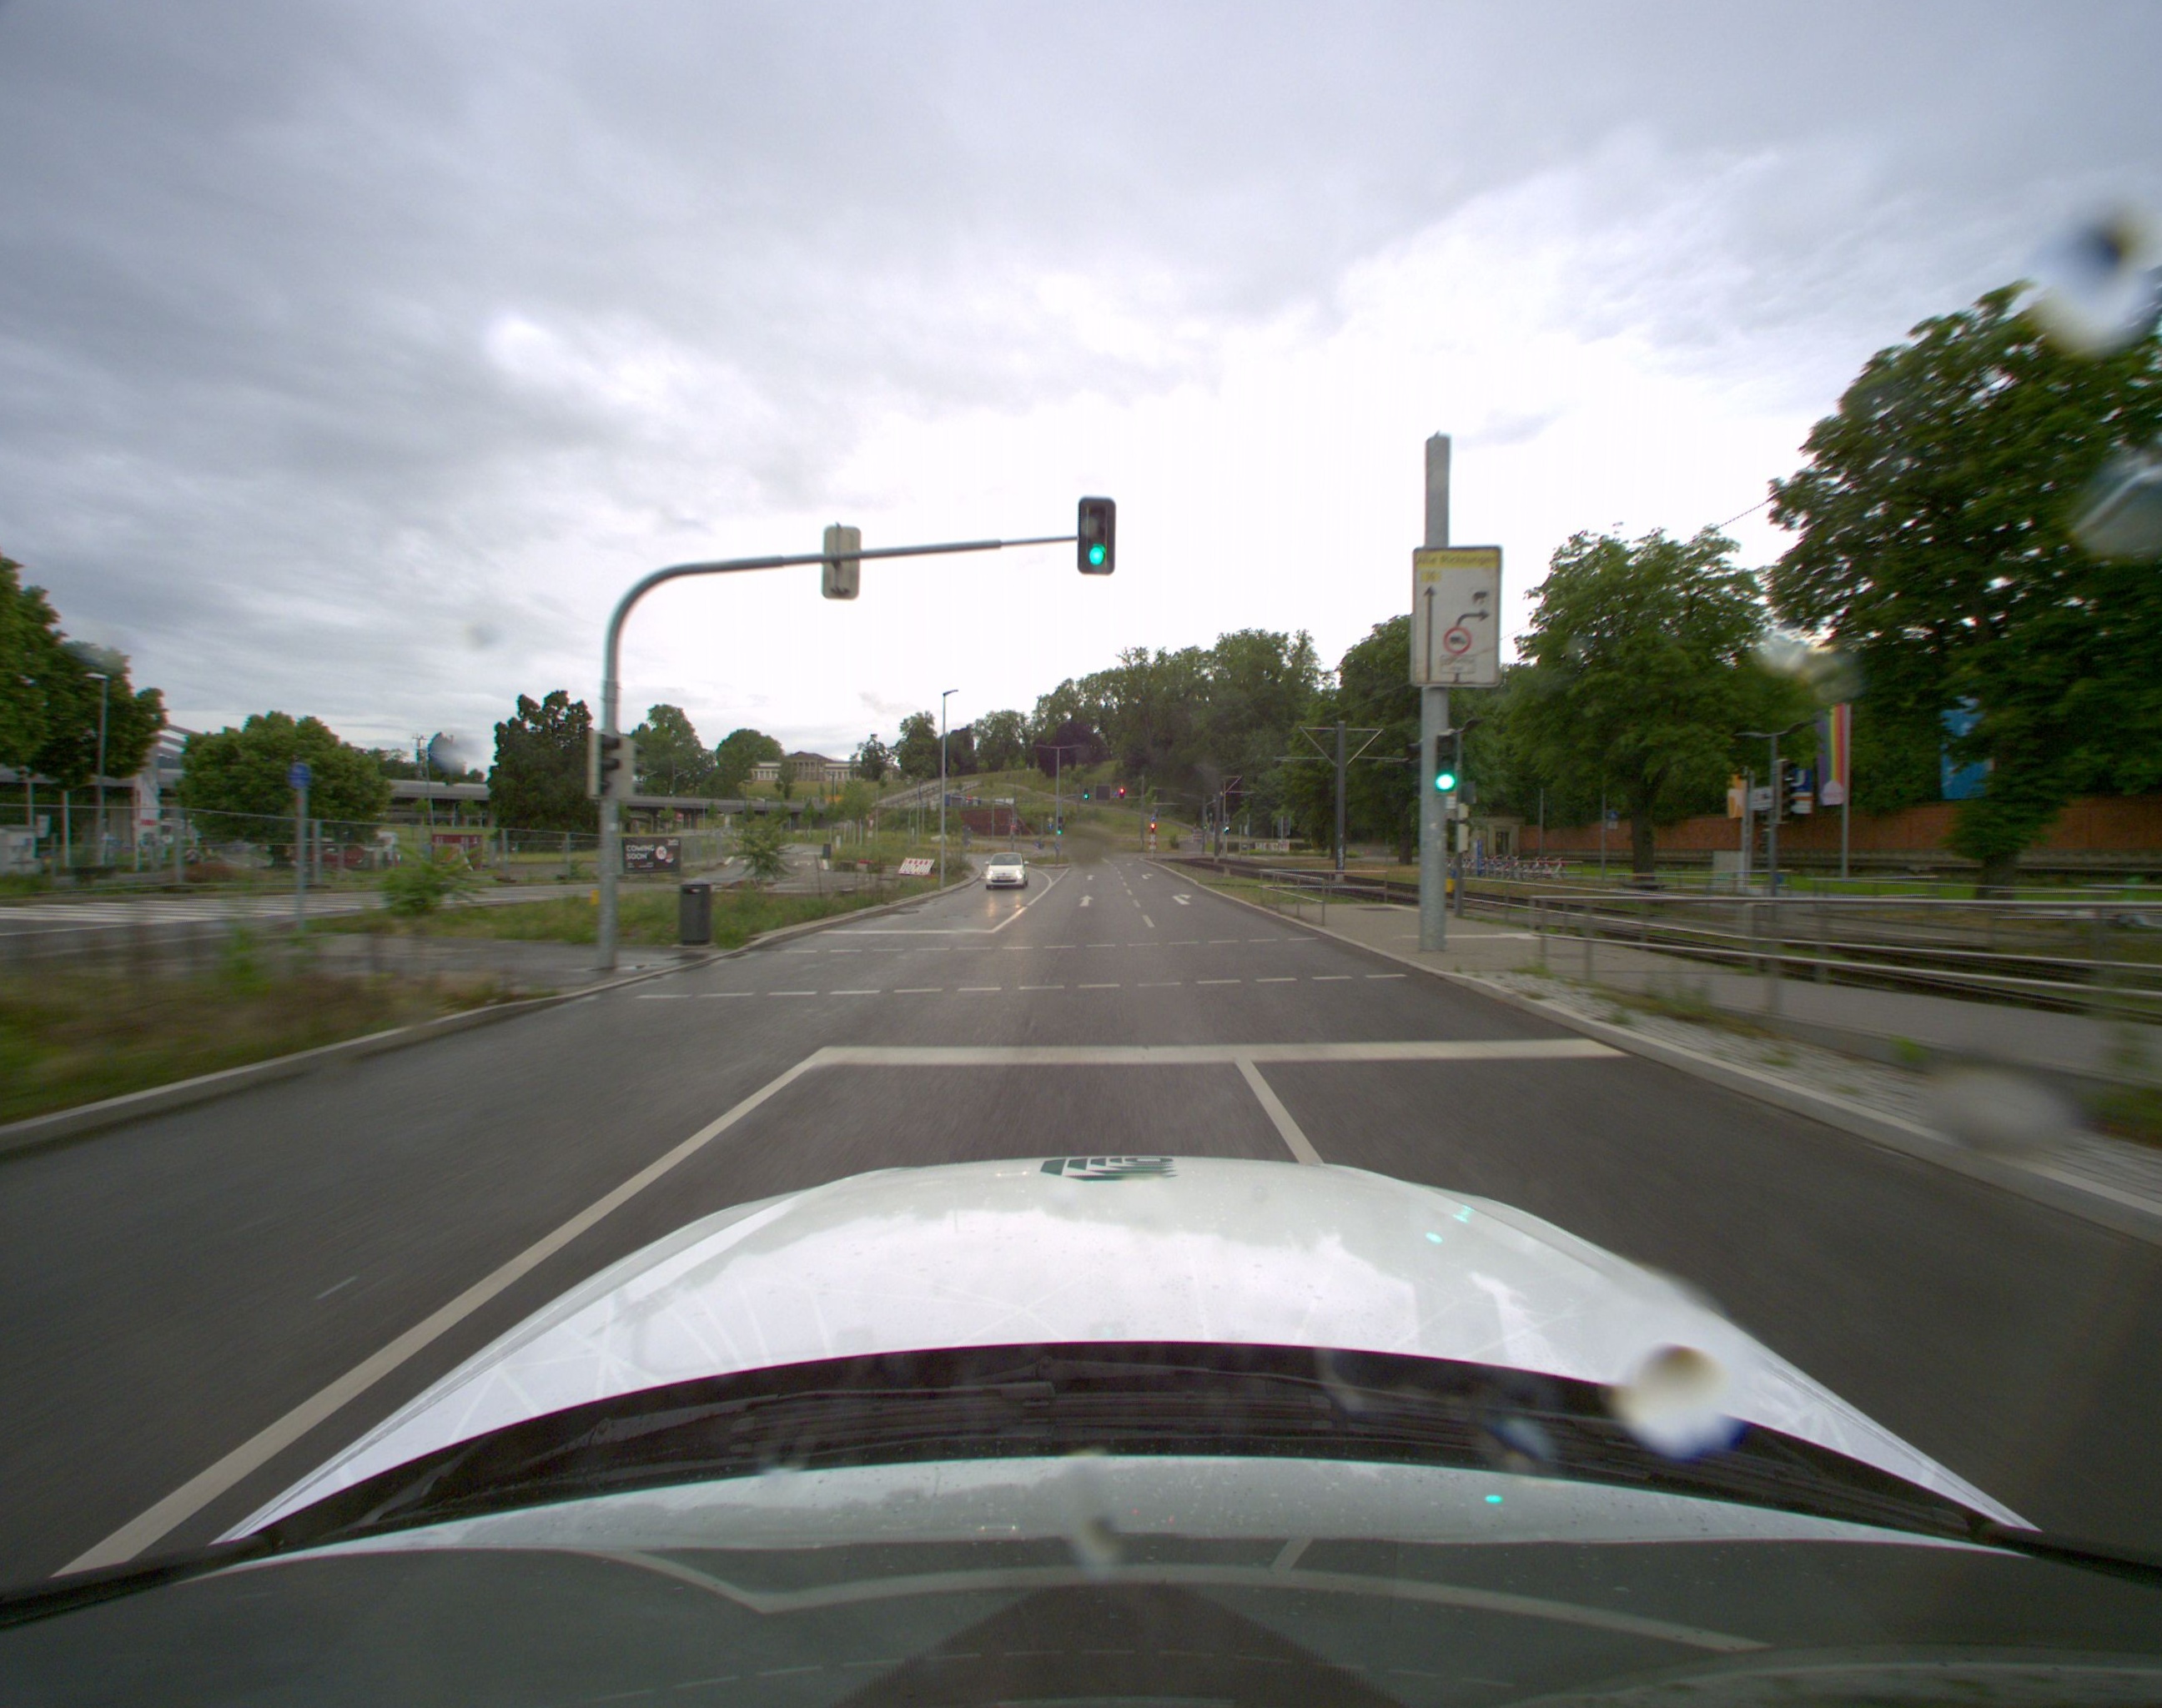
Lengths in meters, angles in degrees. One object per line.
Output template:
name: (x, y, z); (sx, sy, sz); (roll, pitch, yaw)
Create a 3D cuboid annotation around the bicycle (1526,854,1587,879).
bicycle: (20.468, 0.532, 35.079); (2.216, 1.032, 0.689); (0, 1, -1)

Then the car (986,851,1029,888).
car: (-3.117, 0.618, 35.042); (1.582, 1.491, 3.712); (-1, 0, -1)

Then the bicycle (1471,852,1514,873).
bicycle: (20.595, 0.410, 40.787); (1.805, 1.032, 0.652); (0, 1, -1)

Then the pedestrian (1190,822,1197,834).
pedestrian: (17.383, -3.968, 125.382); (0.952, 1.781, 1.126); (3, 2, 10)

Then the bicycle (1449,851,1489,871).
bicycle: (20.514, 0.374, 43.030); (1.805, 1.032, 0.652); (0, 1, -1)

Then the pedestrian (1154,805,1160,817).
pedestrian: (13.908, -7.917, 149.195); (0.789, 2.012, 0.654); (-4, 7, -14)

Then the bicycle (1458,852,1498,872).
bicycle: (20.535, 0.397, 42.154); (1.805, 1.032, 0.652); (0, 1, -1)

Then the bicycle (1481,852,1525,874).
bicycle: (20.348, 0.437, 39.246); (1.805, 1.034, 0.652); (0, 1, -1)

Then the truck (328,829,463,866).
truck: (-54.099, -0.515, 64.587); (7.997, 2.802, 2.397); (0, 1, -37)

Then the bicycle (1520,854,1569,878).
bicycle: (20.485, 0.513, 35.995); (1.805, 1.032, 0.652); (0, 1, -1)

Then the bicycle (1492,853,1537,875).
bicycle: (20.433, 0.459, 38.413); (1.805, 1.032, 0.652); (0, 1, -1)

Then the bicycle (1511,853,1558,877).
bicycle: (20.511, 0.499, 36.850); (1.805, 1.032, 0.652); (0, 1, -1)

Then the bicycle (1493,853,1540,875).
bicycle: (20.415, 0.469, 38.182); (1.841, 1.032, 0.652); (0, 1, -1)

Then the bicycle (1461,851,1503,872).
bicycle: (20.400, 0.398, 41.456); (1.829, 1.032, 0.652); (0, 1, -1)

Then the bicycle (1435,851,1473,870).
bicycle: (20.527, 0.340, 44.792); (1.805, 1.032, 0.652); (0, 1, -1)

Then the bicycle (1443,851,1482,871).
bicycle: (20.556, 0.360, 43.879); (1.805, 1.032, 0.652); (0, 1, -1)
